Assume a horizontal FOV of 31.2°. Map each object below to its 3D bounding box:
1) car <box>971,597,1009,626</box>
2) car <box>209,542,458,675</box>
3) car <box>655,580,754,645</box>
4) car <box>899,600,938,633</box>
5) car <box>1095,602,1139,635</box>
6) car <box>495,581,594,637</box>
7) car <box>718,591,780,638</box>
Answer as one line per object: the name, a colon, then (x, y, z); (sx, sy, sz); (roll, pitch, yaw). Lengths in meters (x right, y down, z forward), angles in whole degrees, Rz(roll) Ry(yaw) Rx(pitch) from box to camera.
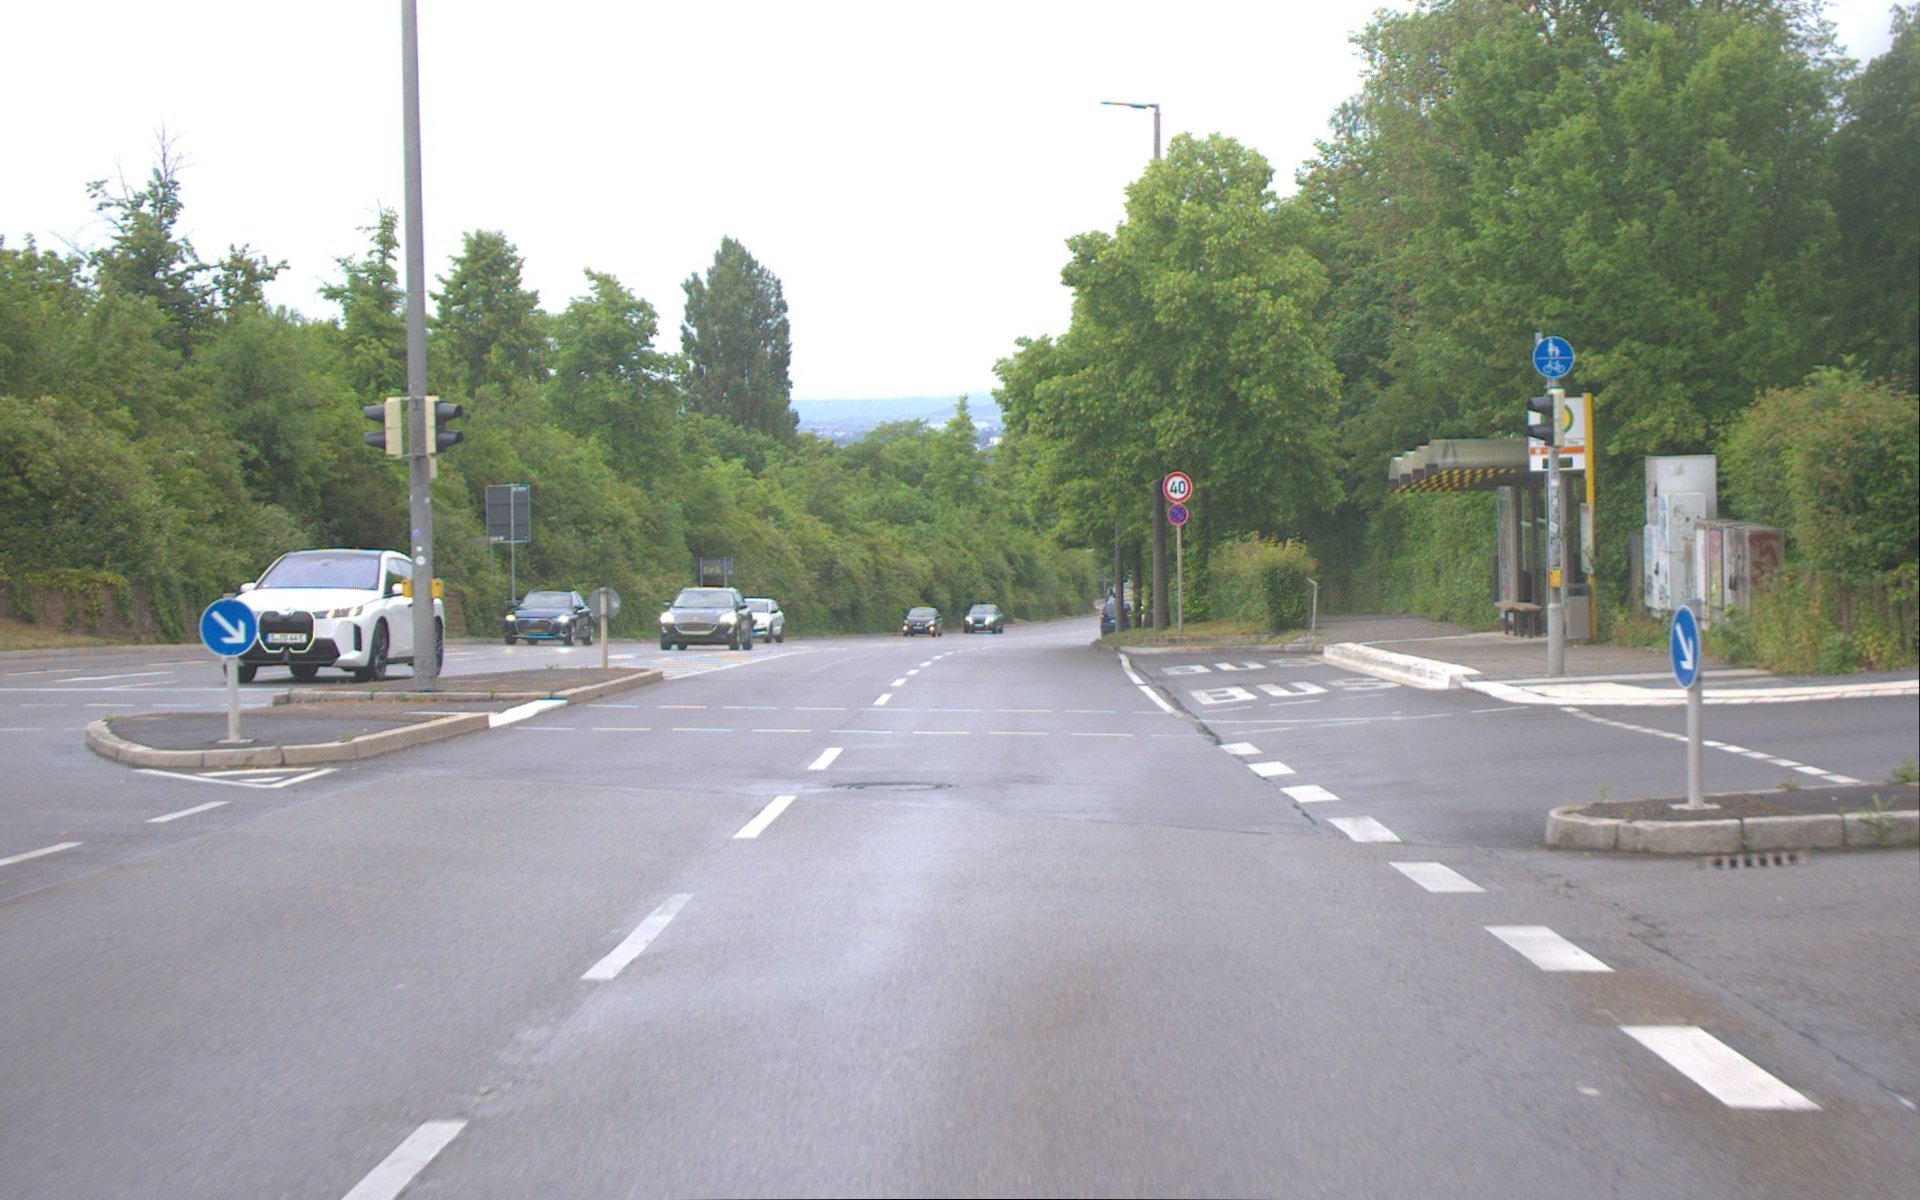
car: (1.736, 0.673, 196.304); (1.864, 1.584, 3.892); (2, 0, 4)
car: (-8.061, 0.078, 44.683); (1.945, 1.630, 5.004); (0, 1, 5)
car: (-5.901, 0.280, 79.894); (1.778, 1.467, 4.644); (0, 0, 2)
car: (-2.091, 0.837, 173.797); (1.725, 1.560, 3.892); (2, 0, 2)
car: (8.176, 0.956, 179.020); (1.945, 1.585, 3.927); (0, 1, 8)
car: (-10.954, 0.219, 90.926); (1.820, 1.433, 4.454); (0, 0, 4)
car: (-7.557, 0.503, 123.275); (1.724, 1.585, 4.000); (0, 1, 4)
